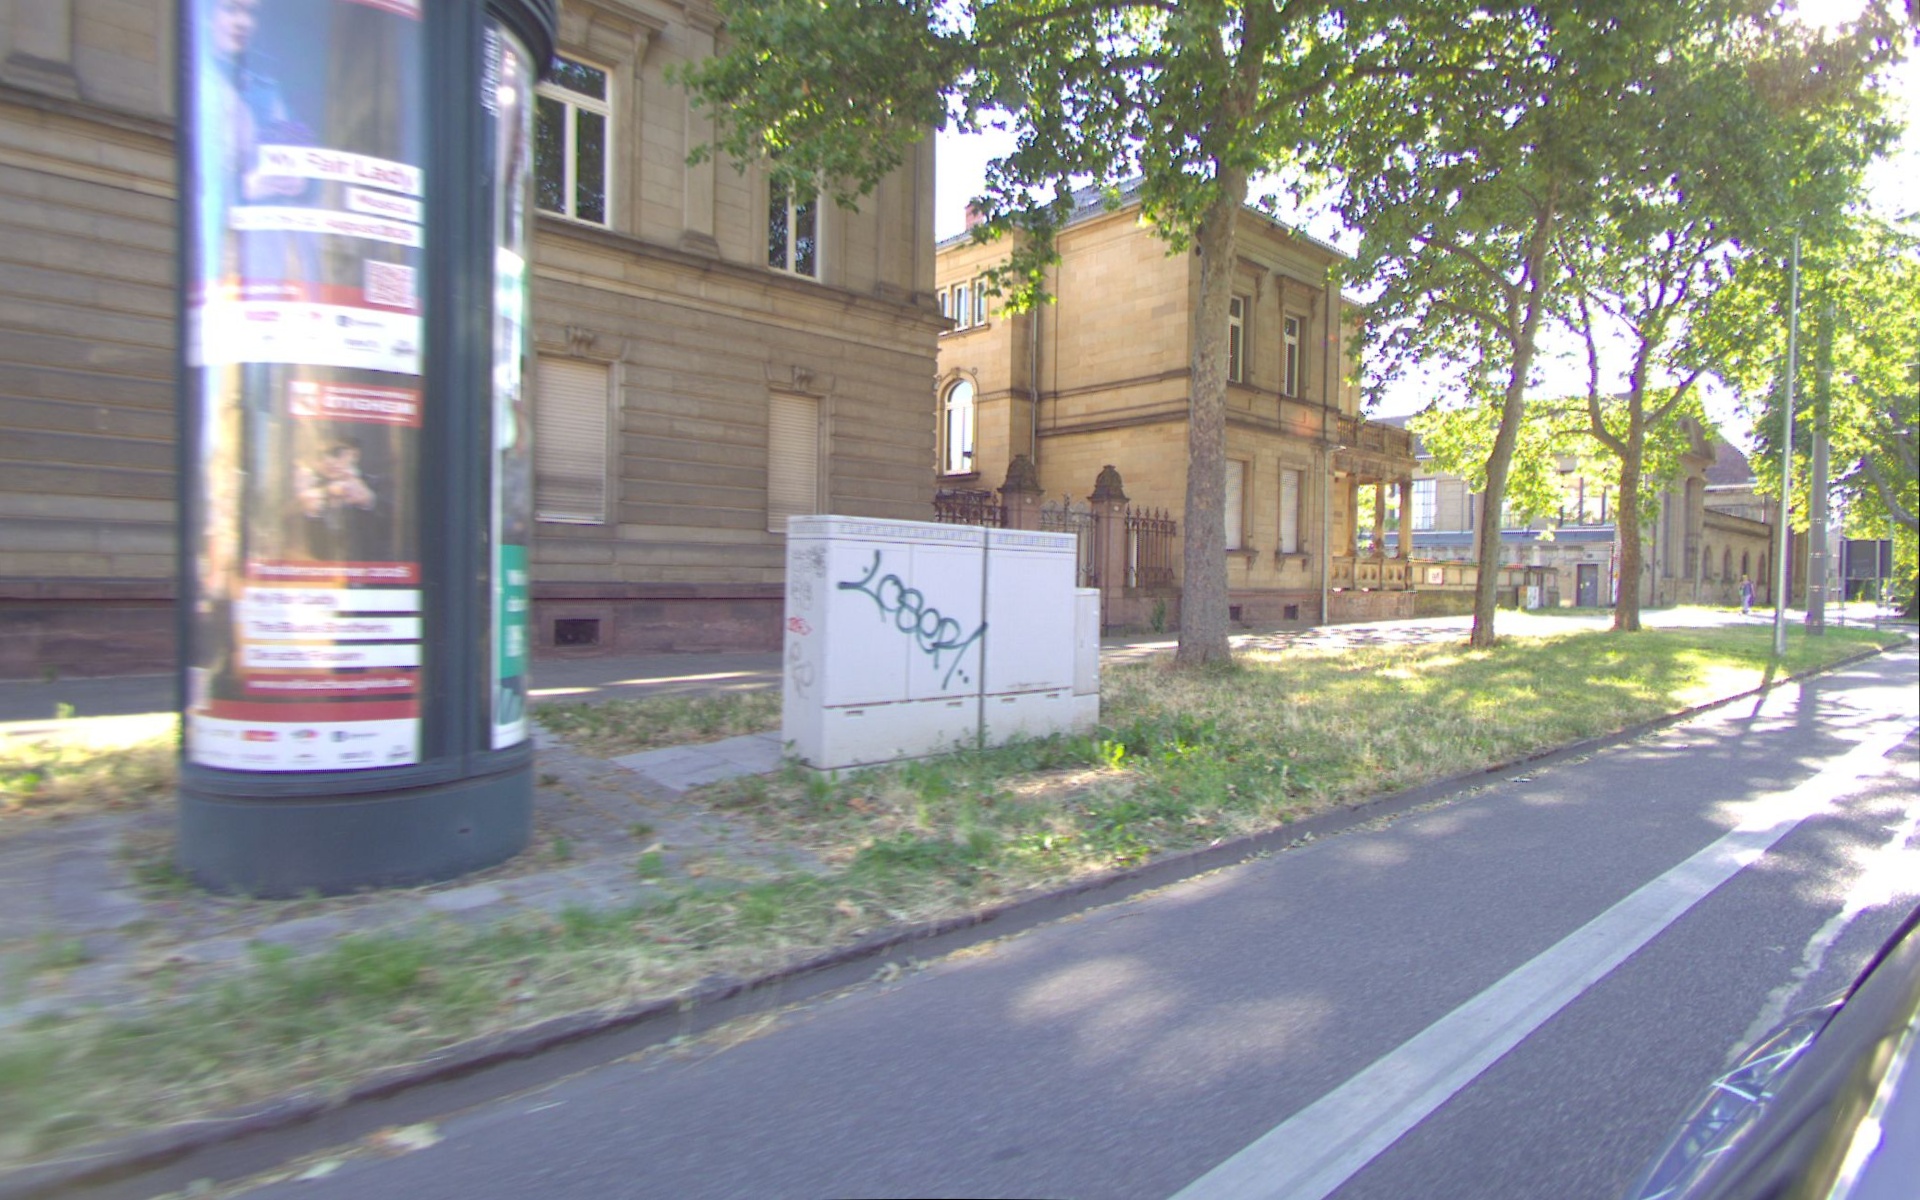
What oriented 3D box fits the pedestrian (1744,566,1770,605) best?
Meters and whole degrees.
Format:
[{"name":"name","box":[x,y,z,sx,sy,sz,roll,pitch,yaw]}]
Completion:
[{"name":"pedestrian","box":[34.943,-0.654,44.358,0.859,1.682,0.672,0,3,-40]}]

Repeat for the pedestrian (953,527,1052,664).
[{"name":"pedestrian","box":[0.562,-0.070,13.411,1.024,1.730,0.771,0,2,-40]}]
